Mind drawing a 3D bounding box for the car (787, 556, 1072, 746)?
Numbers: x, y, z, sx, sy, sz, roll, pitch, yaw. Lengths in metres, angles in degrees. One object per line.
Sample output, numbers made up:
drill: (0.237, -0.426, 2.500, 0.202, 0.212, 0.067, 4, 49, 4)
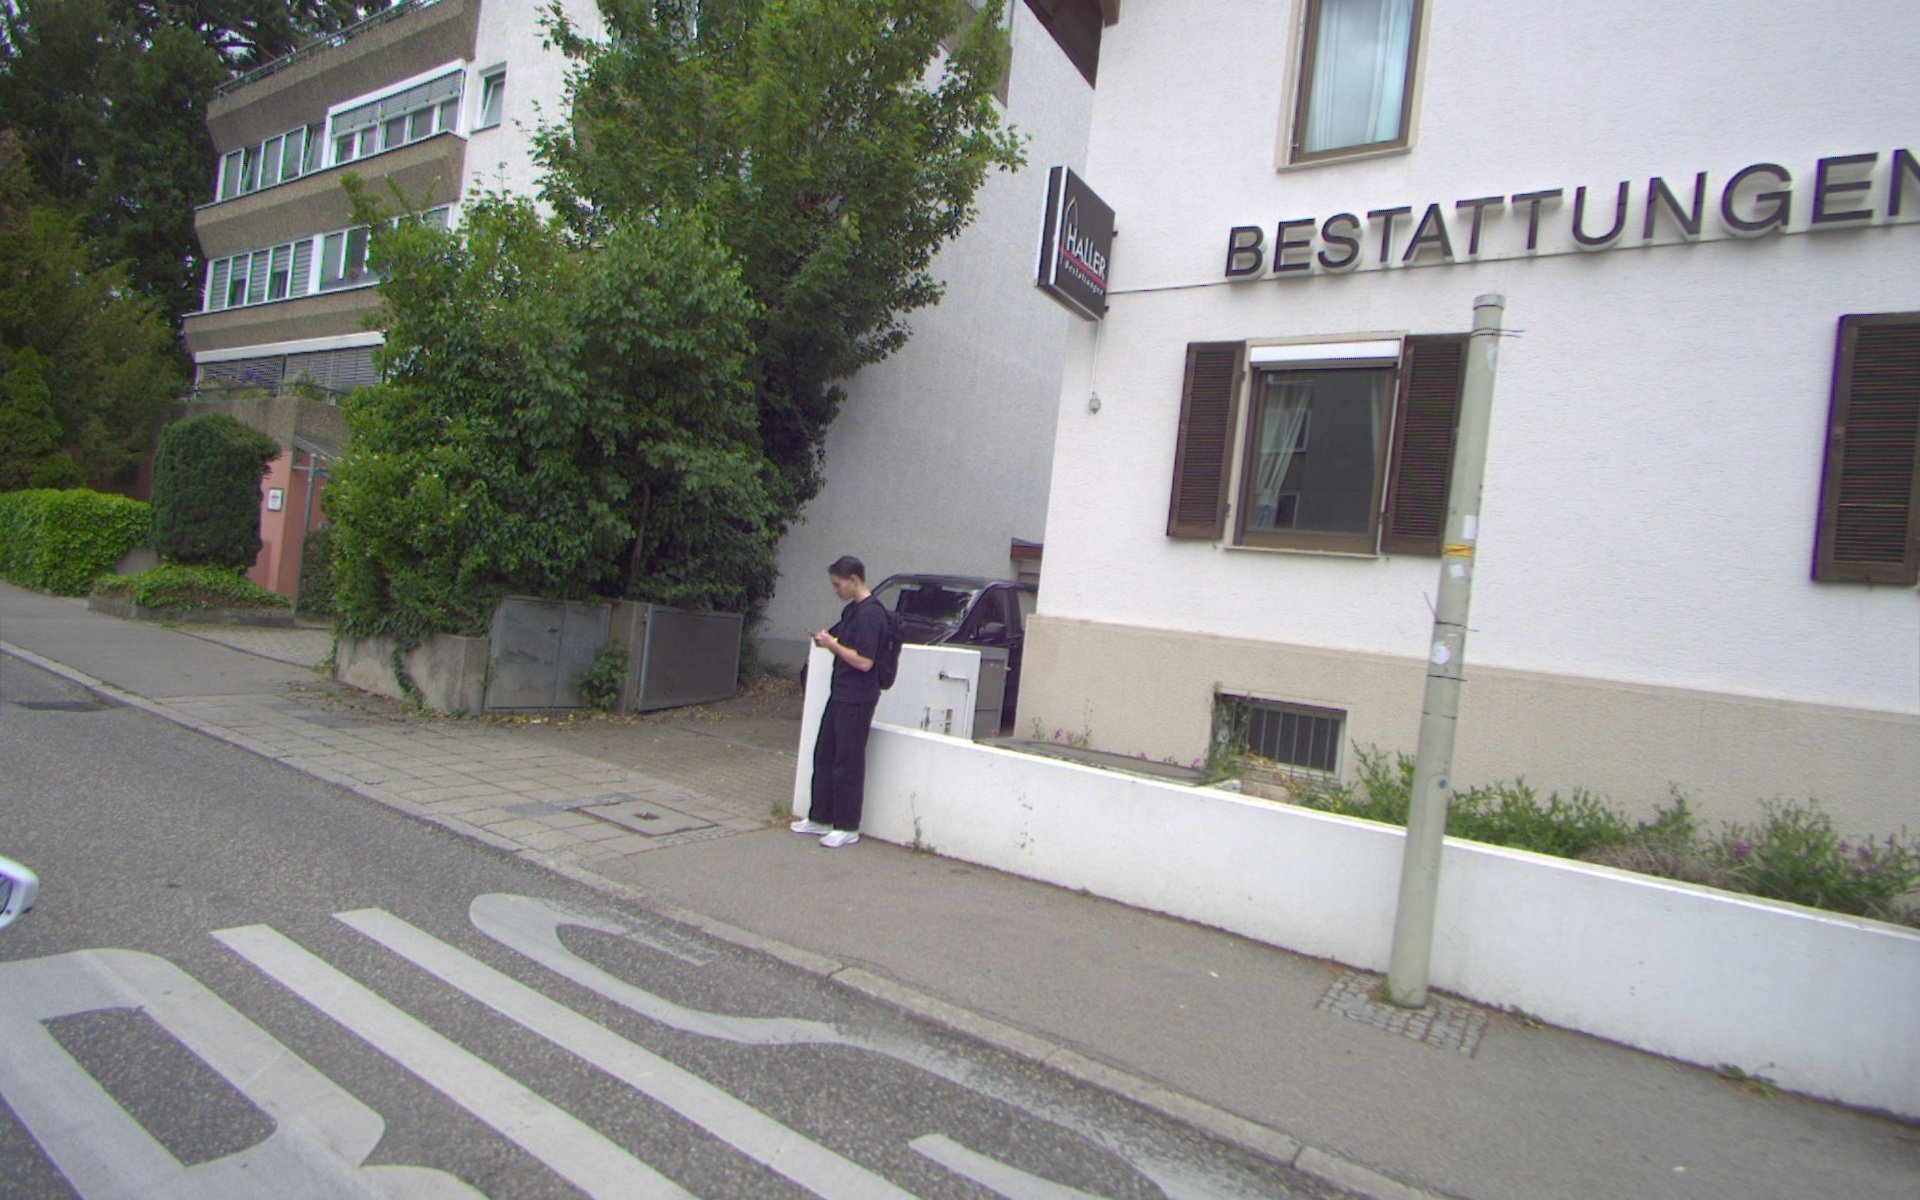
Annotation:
car: (-0.179, 0.602, 12.587, 1.854, 1.811, 3.997, 7, 0, 24)

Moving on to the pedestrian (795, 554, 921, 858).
pedestrian: (-0.610, 0.614, 6.150, 0.519, 1.735, 0.587, 4, 2, 13)
